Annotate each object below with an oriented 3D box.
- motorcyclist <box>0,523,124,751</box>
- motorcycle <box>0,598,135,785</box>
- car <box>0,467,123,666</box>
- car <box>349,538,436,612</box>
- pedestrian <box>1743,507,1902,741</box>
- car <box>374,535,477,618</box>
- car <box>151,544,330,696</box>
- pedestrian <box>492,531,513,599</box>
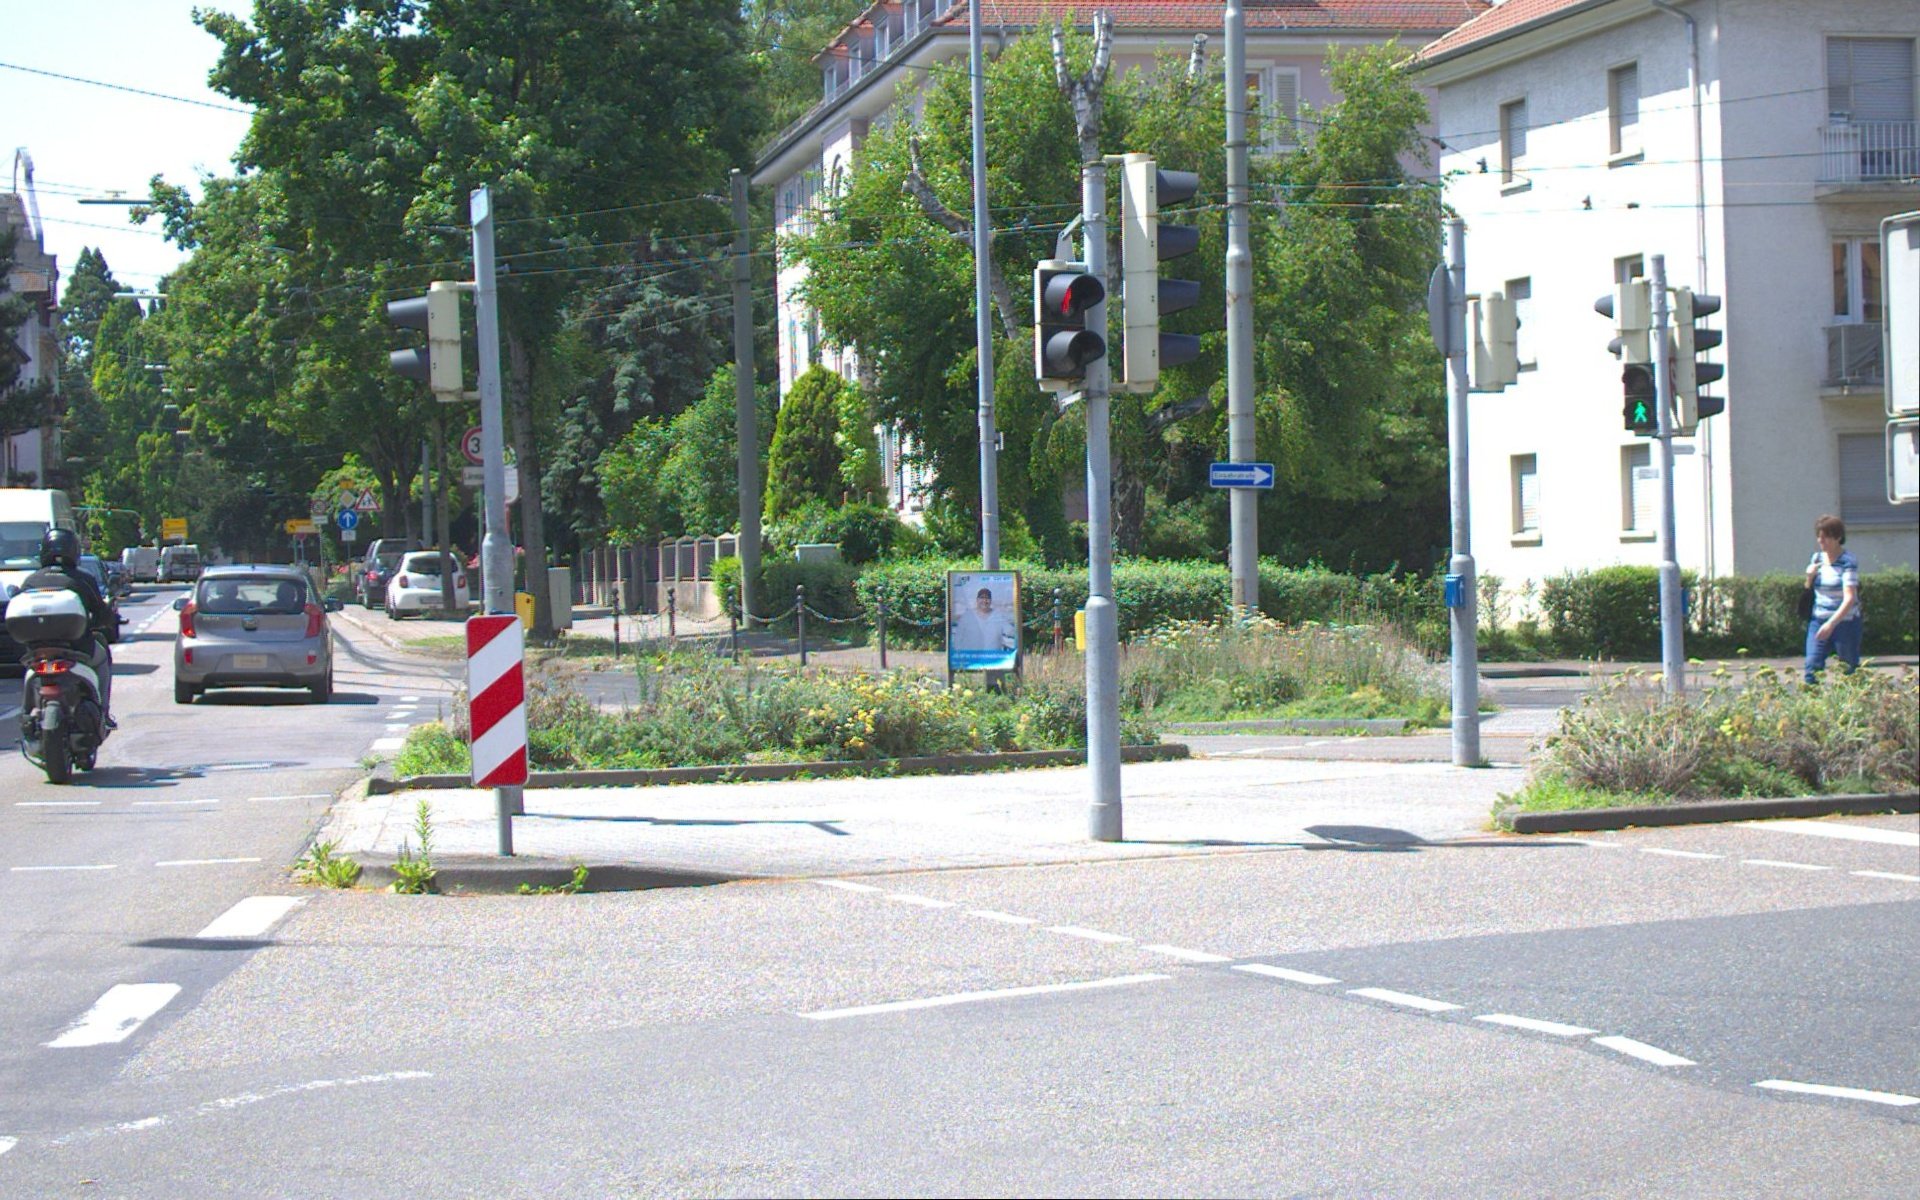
[{"bbox_3d":[-5.867,0.224,22.398,0.711,1.440,1.019,-1,1,-9],"label":"motorcyclist"},{"bbox_3d":[-5.900,0.572,22.629,0.711,1.130,2.198,-1,1,-9],"label":"motorcycle"},{"bbox_3d":[-13.114,-0.421,47.744,2.215,2.492,7.556,-4,1,-10],"label":"car"},{"bbox_3d":[-14.993,-0.682,90.689,1.993,1.900,4.001,-1,1,-13],"label":"car"},{"bbox_3d":[6.406,0.169,25.539,0.835,1.699,0.762,-1,1,-28],"label":"pedestrian"},{"bbox_3d":[-12.076,-0.558,77.523,1.993,1.801,4.001,-1,1,-13],"label":"car"},{"bbox_3d":[-7.857,0.181,37.745,1.798,1.552,4.038,-1,1,-11],"label":"car"},{"bbox_3d":[-11.198,-0.862,84.121,0.508,1.650,0.466,0,1,-8],"label":"pedestrian"}]
